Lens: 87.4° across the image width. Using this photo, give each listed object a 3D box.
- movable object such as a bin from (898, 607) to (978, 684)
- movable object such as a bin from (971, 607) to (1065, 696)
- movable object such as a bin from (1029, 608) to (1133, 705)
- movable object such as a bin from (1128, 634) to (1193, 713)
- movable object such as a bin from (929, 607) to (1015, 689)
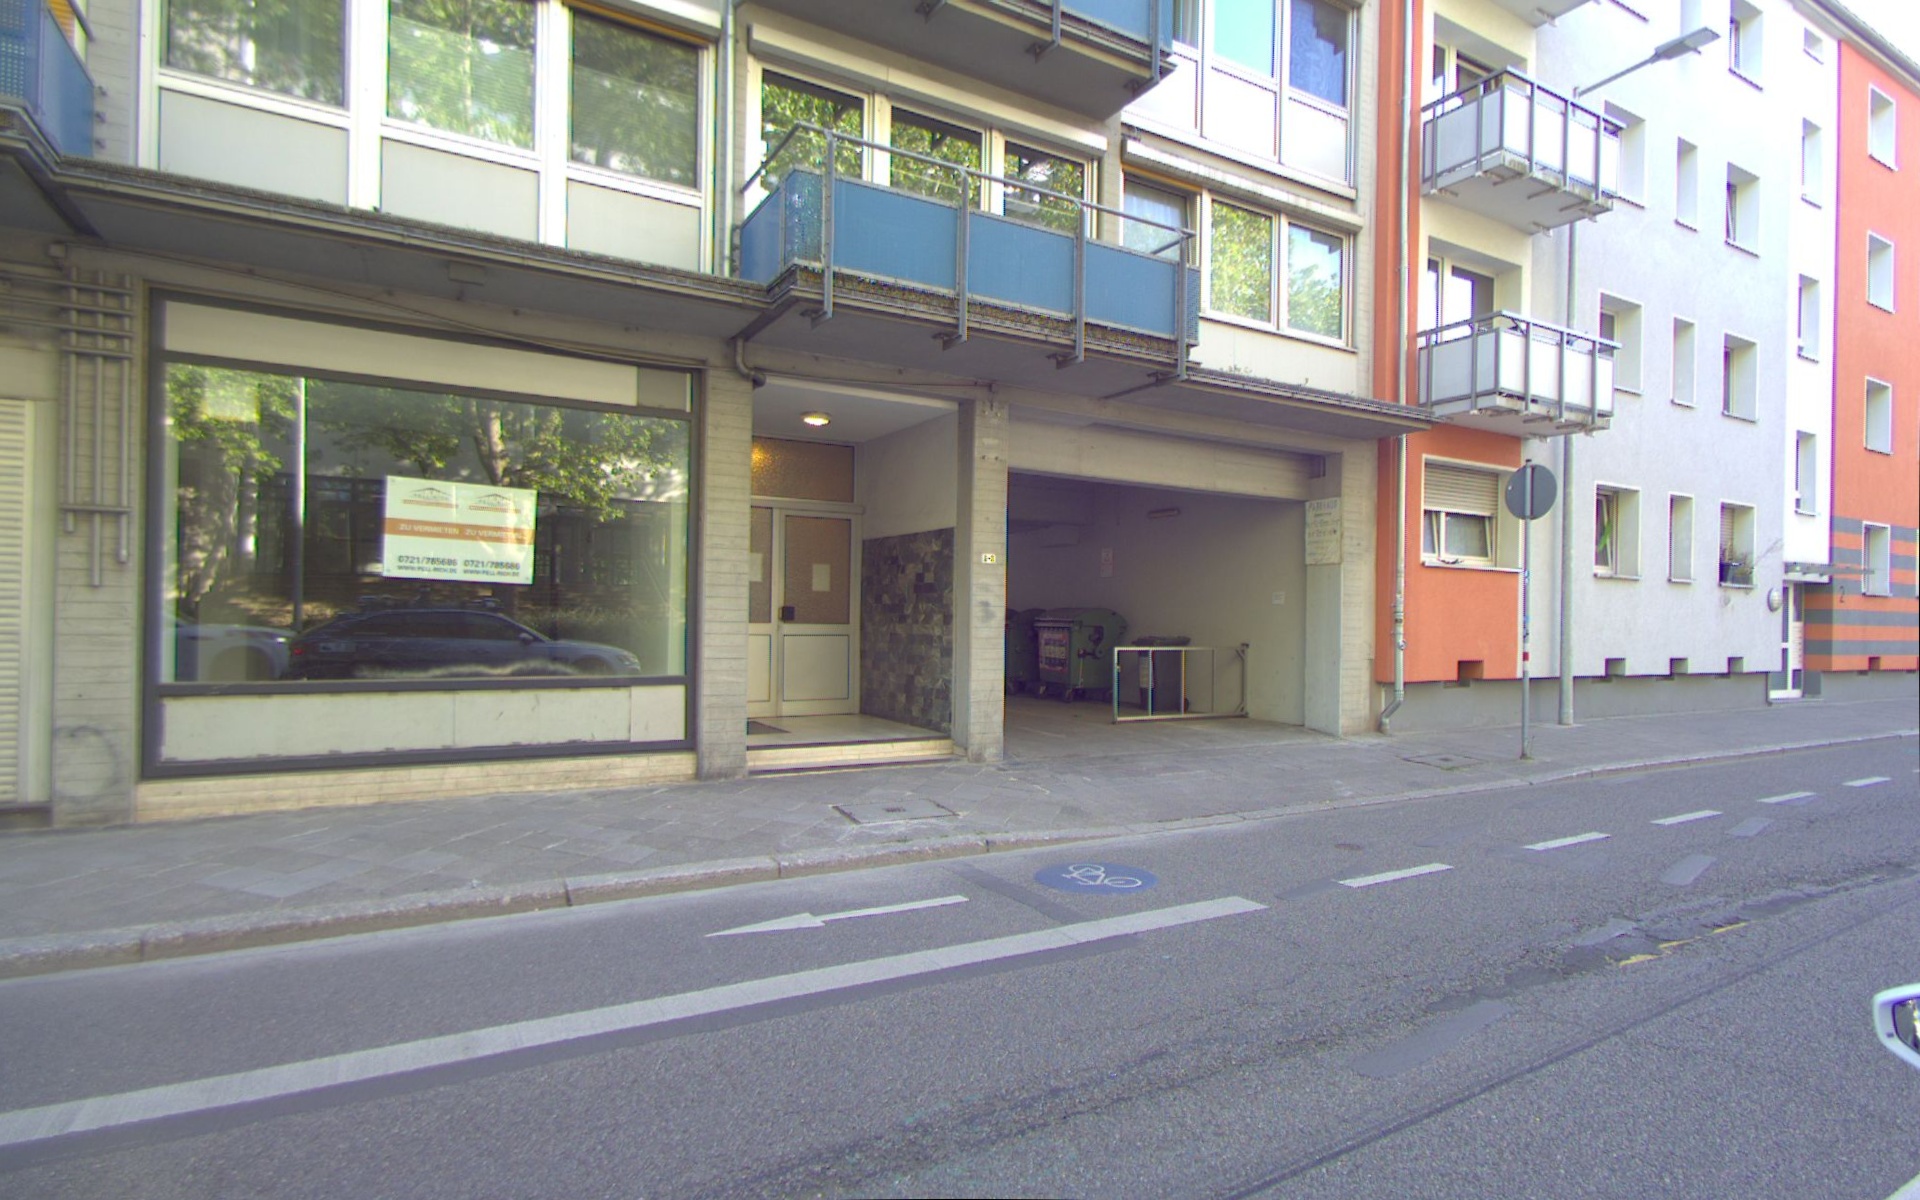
[{"bbox_3d":[-0.434,0.868,19.621,1.116,1.444,1.201,1,0,-30],"label":"movable object such as a bin"},{"bbox_3d":[0.984,0.855,17.174,1.116,1.444,1.201,1,0,-30],"label":"movable object such as a bin"},{"bbox_3d":[1.895,0.861,15.815,1.116,1.444,1.201,1,0,-30],"label":"movable object such as a bin"},{"bbox_3d":[2.893,1.044,14.505,0.667,1.079,0.639,1,0,-30],"label":"movable object such as a bin"},{"bbox_3d":[0.213,0.861,18.473,1.116,1.444,1.201,1,0,-30],"label":"movable object such as a bin"}]
